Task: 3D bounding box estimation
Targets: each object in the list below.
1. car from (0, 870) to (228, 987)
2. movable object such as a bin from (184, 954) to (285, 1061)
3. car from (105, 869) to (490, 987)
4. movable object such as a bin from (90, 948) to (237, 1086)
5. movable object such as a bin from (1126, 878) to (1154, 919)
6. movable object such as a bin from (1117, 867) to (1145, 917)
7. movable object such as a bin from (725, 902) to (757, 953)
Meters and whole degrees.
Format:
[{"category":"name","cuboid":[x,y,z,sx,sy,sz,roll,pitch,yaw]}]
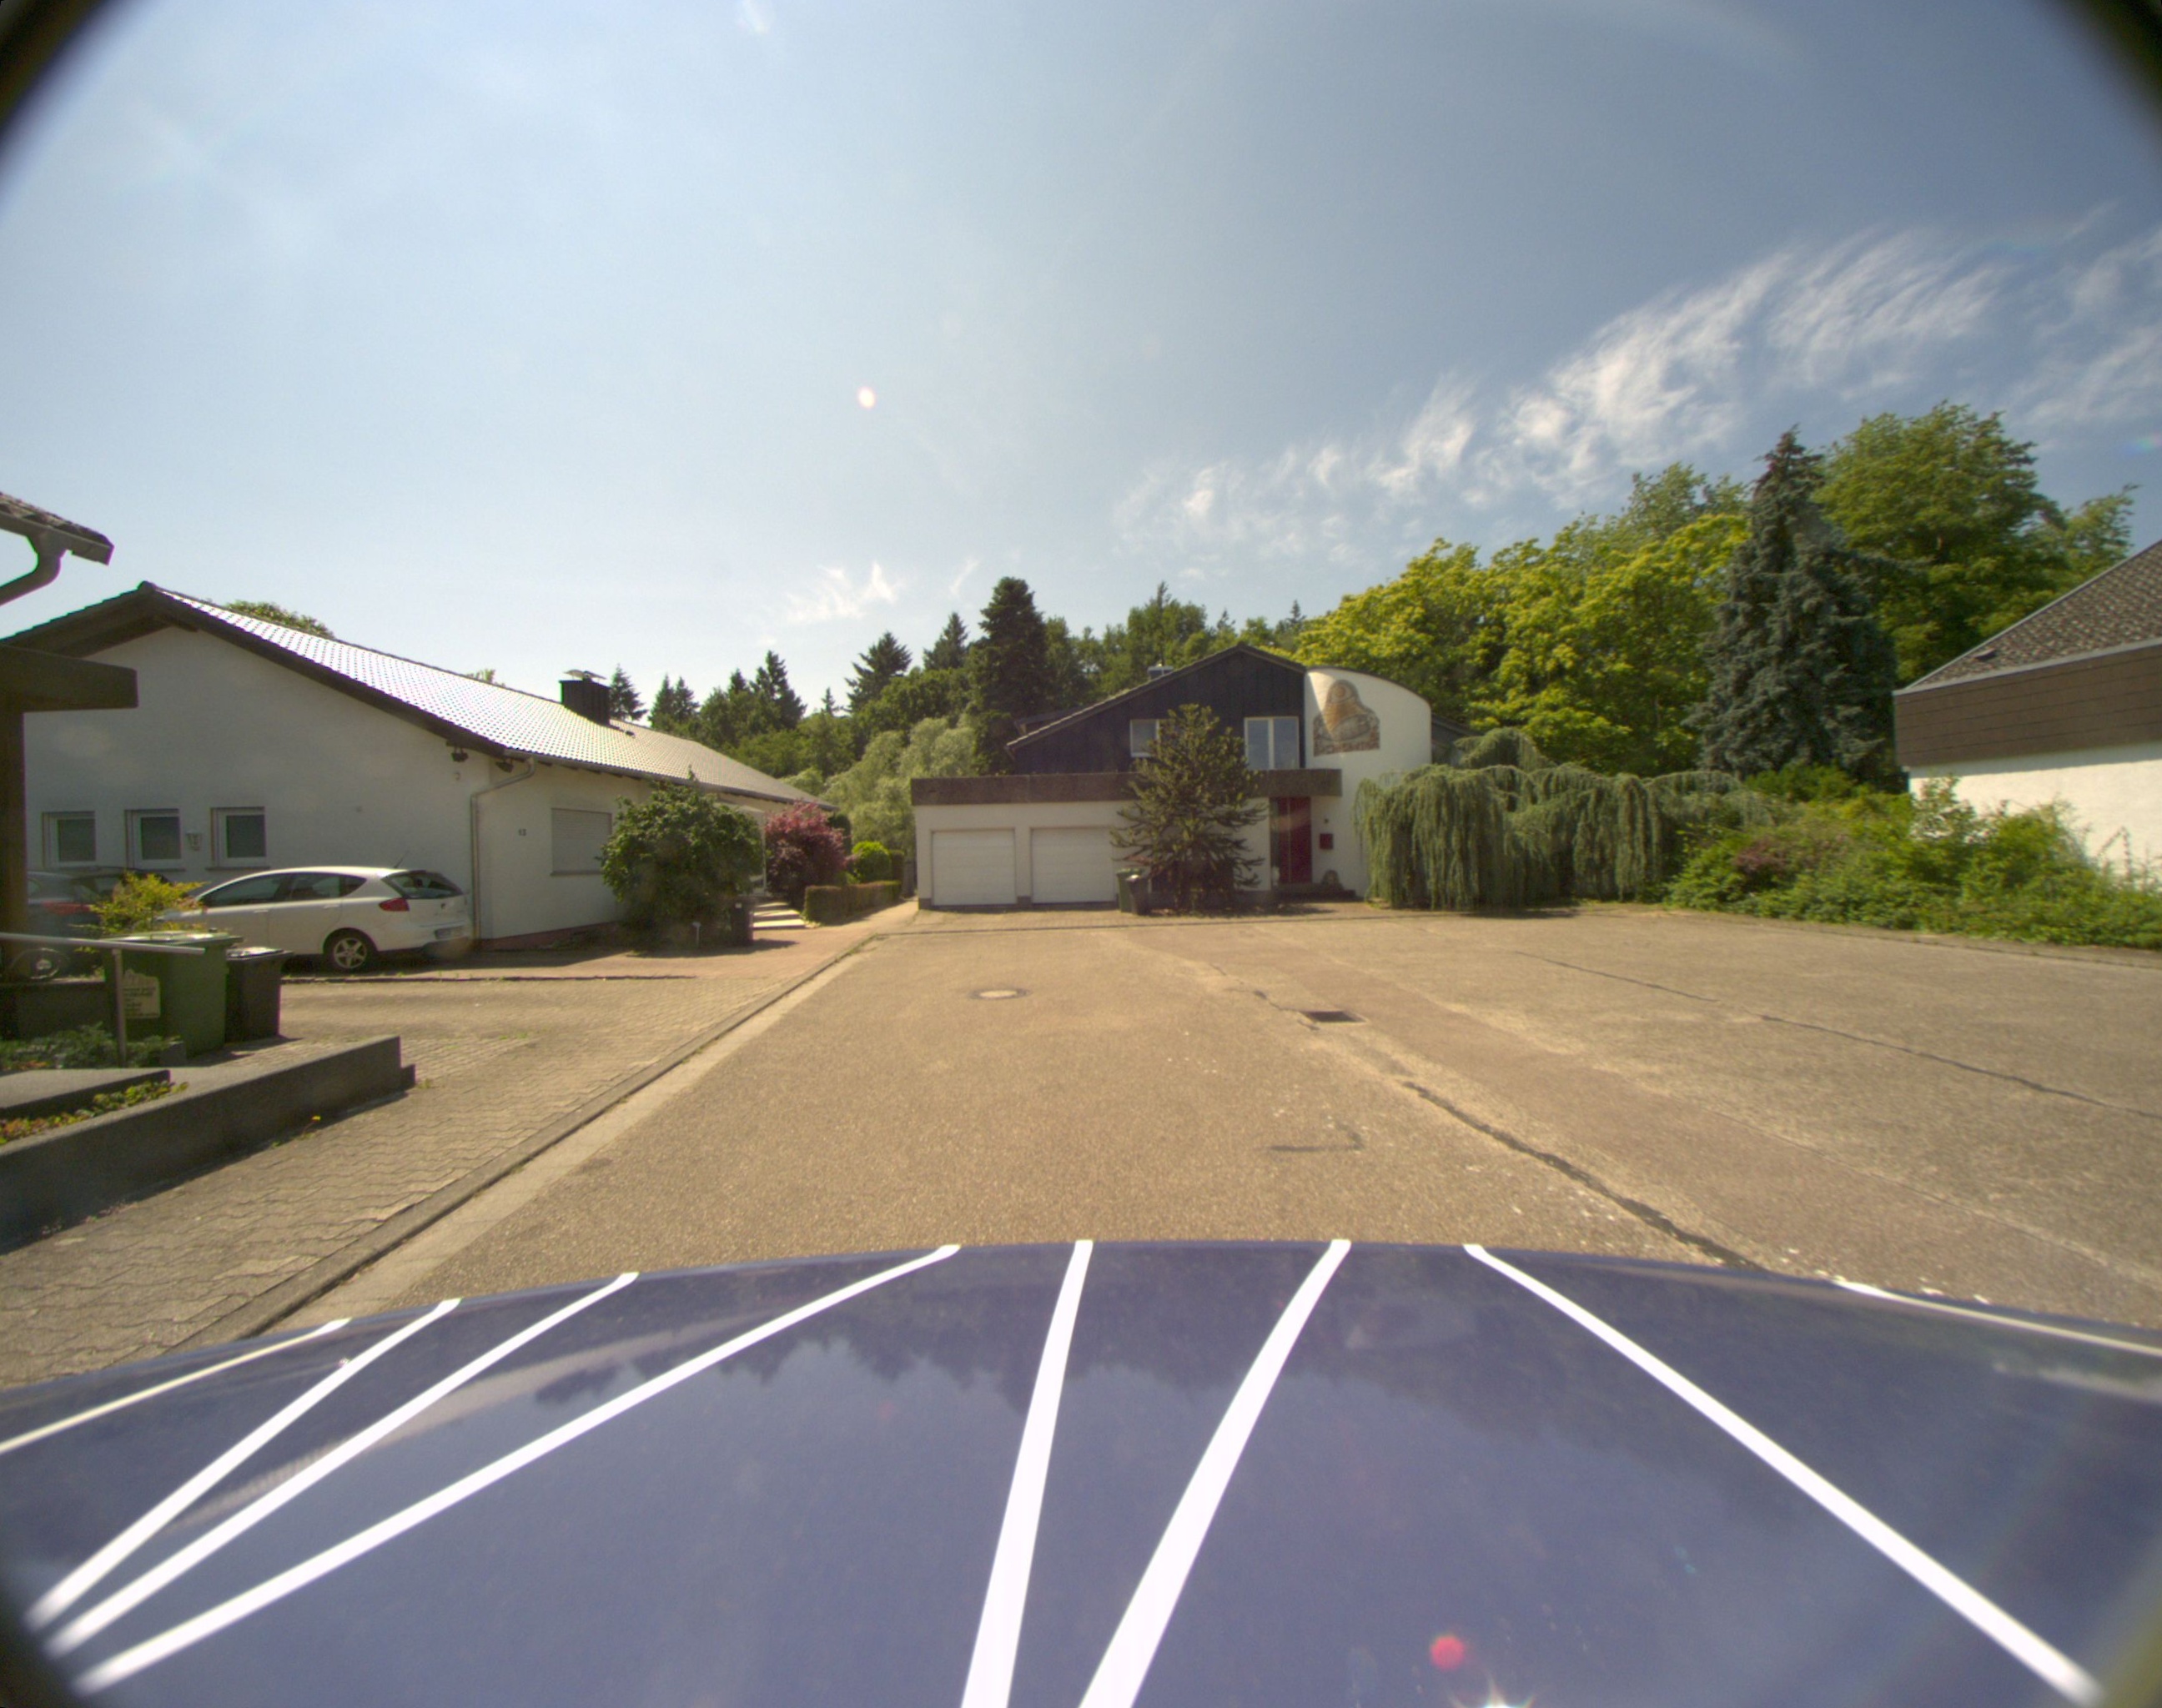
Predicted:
[{"category":"car","cuboid":[-16.460,1.111,11.902,3.997,1.599,1.929,-1,1,1]},{"category":"movable object such as a bin","cuboid":[-7.804,1.401,7.019,0.426,0.886,0.407,-1,1,-7]},{"category":"car","cuboid":[-11.920,1.075,11.807,3.998,1.559,1.751,-1,1,-3]},{"category":"movable object such as a bin","cuboid":[-7.812,1.366,6.496,0.491,1.035,0.592,-1,1,-7]},{"category":"movable object such as a bin","cuboid":[1.415,1.060,18.185,0.524,0.944,0.388,-2,1,-26]},{"category":"movable object such as a bin","cuboid":[1.238,0.943,18.939,0.633,1.196,0.551,-1,1,1]},{"category":"movable object such as a bin","cuboid":[-6.238,1.347,13.945,0.390,0.886,0.375,-1,1,0]}]
